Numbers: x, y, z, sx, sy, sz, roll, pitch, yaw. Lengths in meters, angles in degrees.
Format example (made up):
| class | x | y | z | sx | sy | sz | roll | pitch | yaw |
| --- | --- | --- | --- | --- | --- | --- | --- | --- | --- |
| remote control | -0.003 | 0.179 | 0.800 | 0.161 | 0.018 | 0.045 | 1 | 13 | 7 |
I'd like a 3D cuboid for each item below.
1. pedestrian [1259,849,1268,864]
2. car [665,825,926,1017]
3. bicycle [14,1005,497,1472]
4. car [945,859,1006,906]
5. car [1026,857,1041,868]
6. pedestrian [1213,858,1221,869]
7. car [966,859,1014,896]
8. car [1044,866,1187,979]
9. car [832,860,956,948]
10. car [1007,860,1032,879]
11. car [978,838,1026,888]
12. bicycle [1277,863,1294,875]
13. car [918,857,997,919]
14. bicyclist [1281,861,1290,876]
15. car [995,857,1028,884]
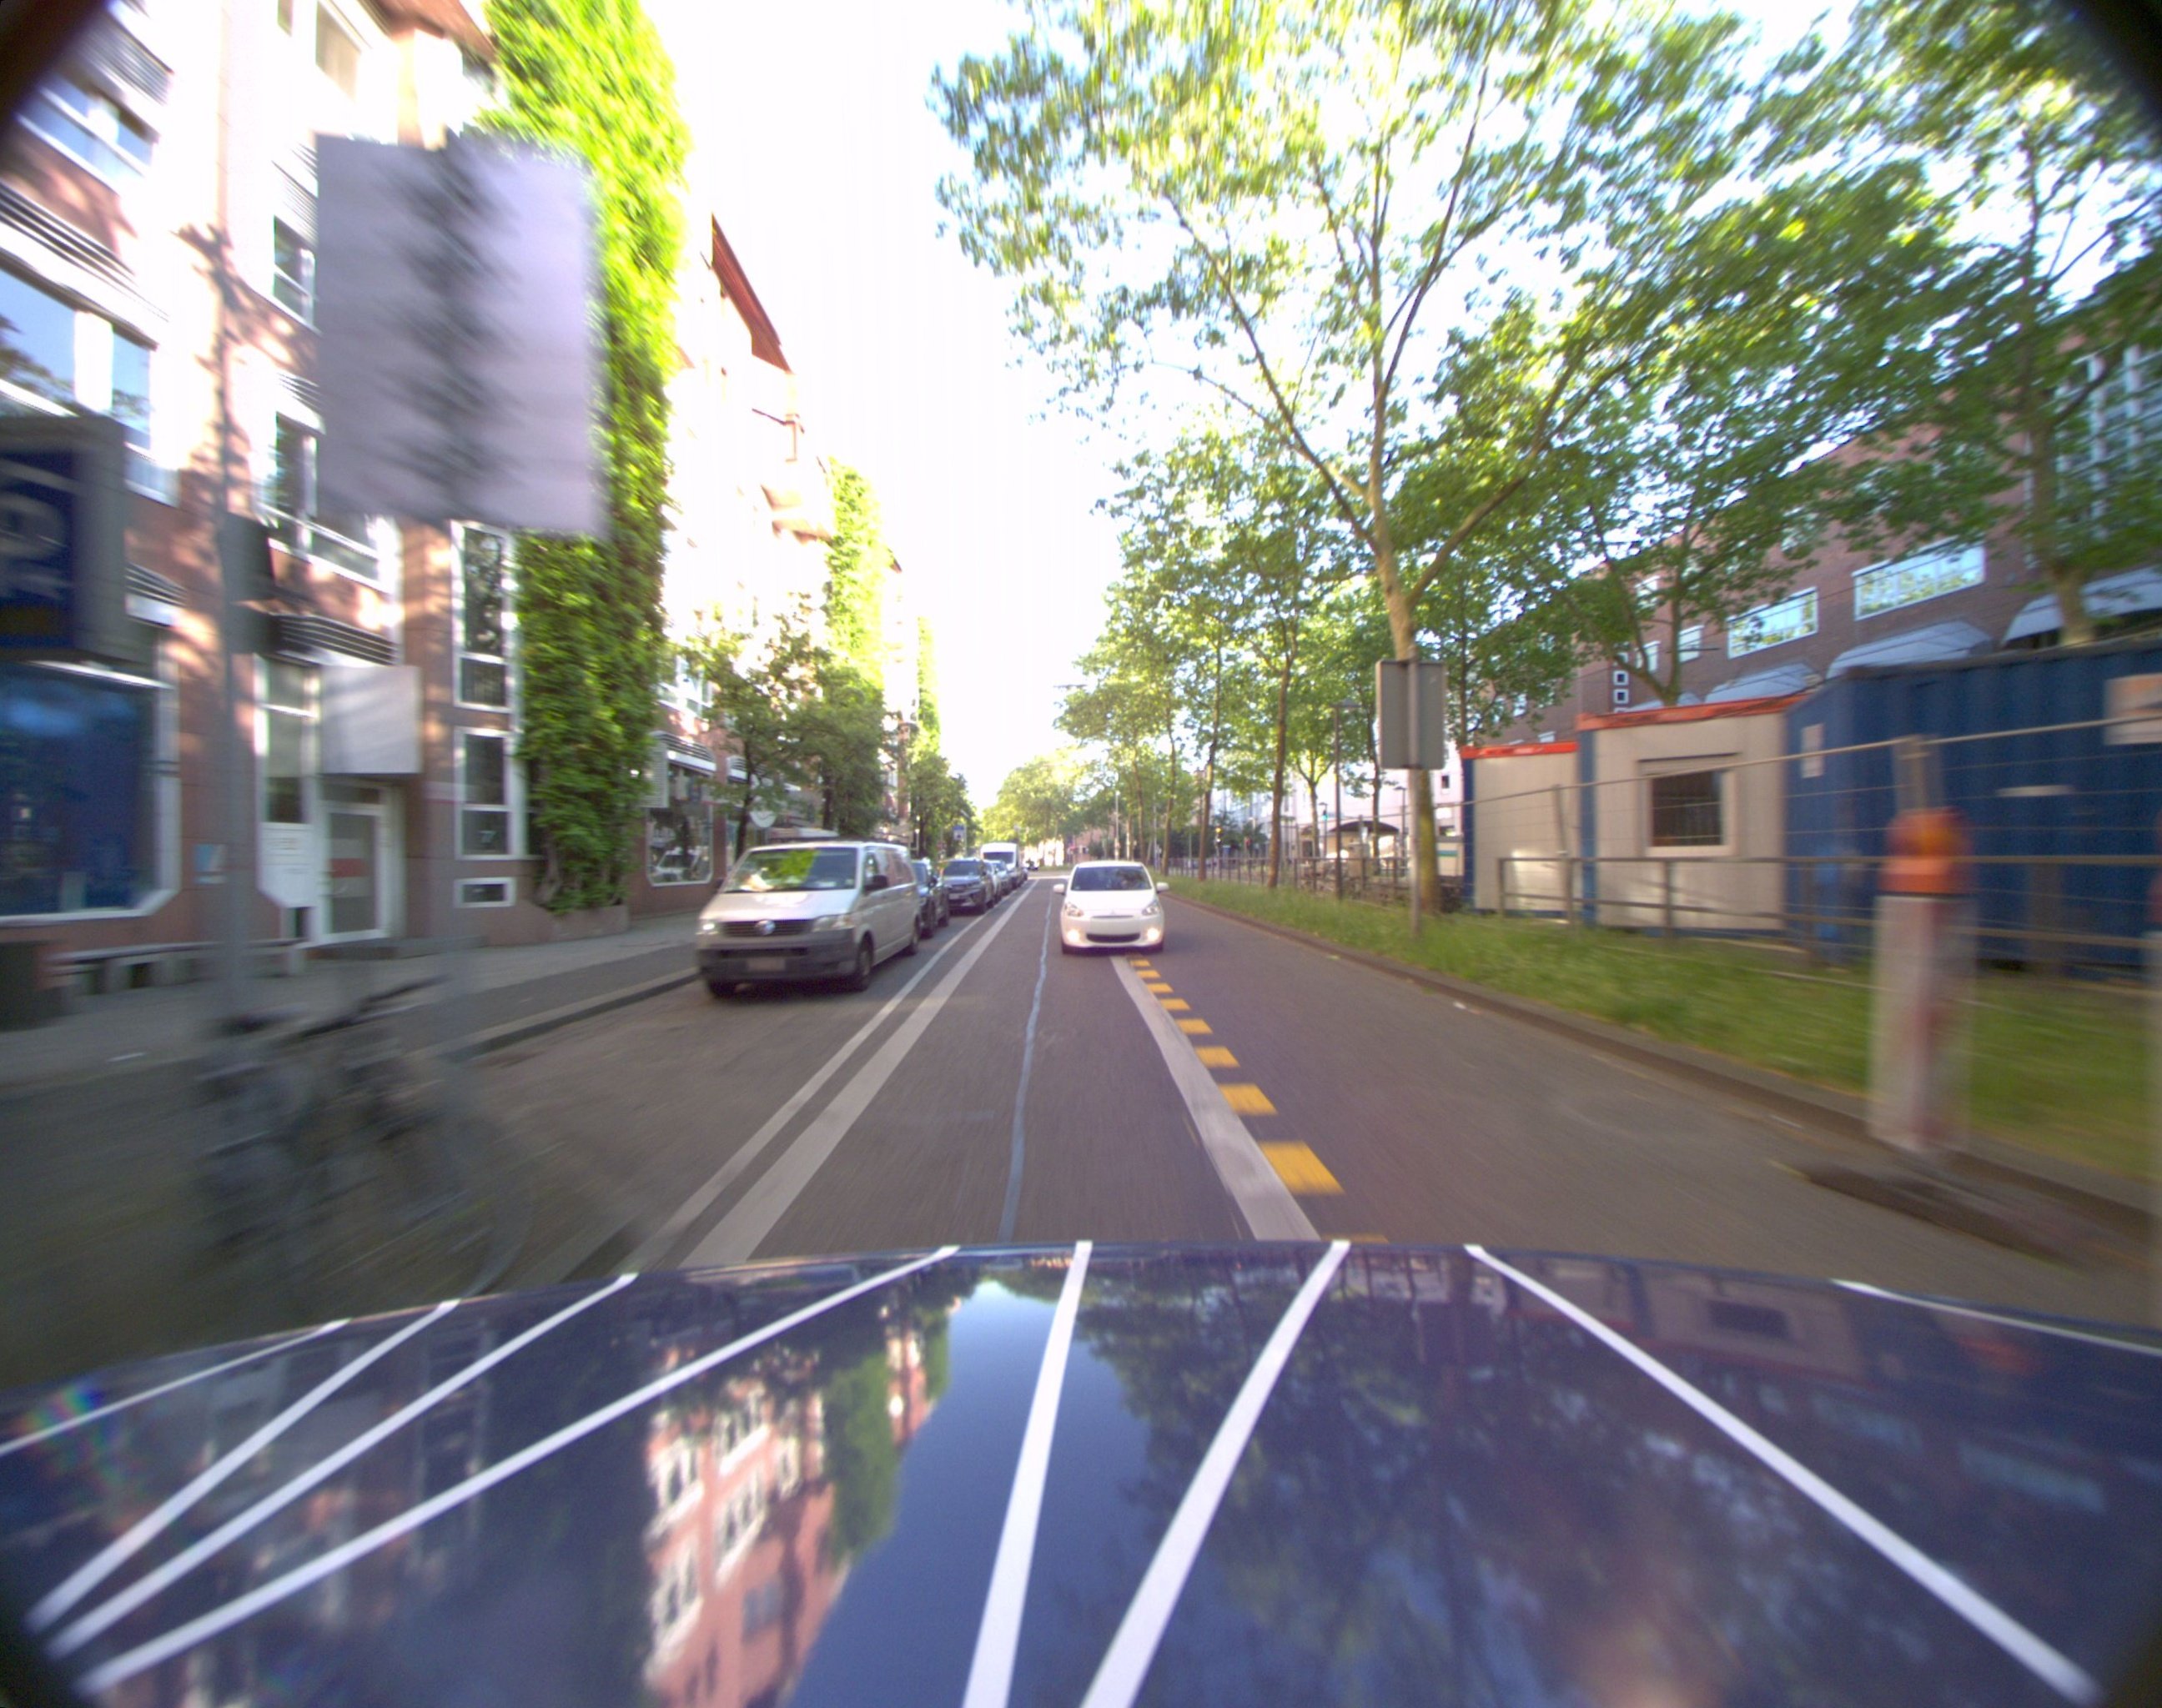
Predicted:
| class | x | y | z | sx | sy | sz | roll | pitch | yaw |
| --- | --- | --- | --- | --- | --- | --- | --- | --- | --- |
| pedestrian | 24.515 | 0.282 | 102.083 | 1.006 | 2.002 | 0.876 | -2 | 1 | 0 |
| car | -3.604 | 0.734 | 10.792 | 1.924 | 2.066 | 5.169 | 0 | 0 | -2 |
| bicycle | -2.814 | 1.139 | 2.574 | 1.679 | 1.061 | 0.512 | -1 | 0 | 21 |
| car | -3.812 | 0.985 | 27.965 | 1.833 | 1.569 | 3.999 | 0 | 0 | -2 |
| car | -6.795 | 1.210 | 109.051 | 1.999 | 1.524 | 3.999 | -2 | 0 | -2 |
| pedestrian | 19.531 | 1.364 | 109.098 | 1.006 | 1.592 | 0.876 | -2 | 1 | 3 |
| car | -4.031 | 1.004 | 34.319 | 1.833 | 1.569 | 3.999 | 0 | 0 | -2 |
| car | 0.389 | 0.976 | 12.595 | 1.809 | 1.492 | 4.199 | 0 | 0 | -5 |
| car | -3.878 | 0.957 | 16.456 | 1.792 | 1.660 | 4.199 | 0 | 0 | -2 |
| car | -4.686 | 1.132 | 57.397 | 1.809 | 1.322 | 3.990 | 0 | 0 | -5 |
| car | -4.184 | 0.468 | 41.137 | 2.120 | 2.550 | 5.904 | 0 | 0 | -2 |
| bicycle | 23.267 | 1.699 | 86.423 | 0.775 | 1.254 | 1.814 | -2 | 1 | -33 |
| car | -3.546 | 0.917 | 22.560 | 1.792 | 1.660 | 4.439 | 0 | 0 | -2 |
| bicyclist | 23.235 | 1.621 | 86.469 | 0.720 | 1.639 | 0.667 | -2 | 1 | -32 |
| car | -4.323 | 0.980 | 47.747 | 1.809 | 1.617 | 4.474 | 0 | 0 | -3 |
